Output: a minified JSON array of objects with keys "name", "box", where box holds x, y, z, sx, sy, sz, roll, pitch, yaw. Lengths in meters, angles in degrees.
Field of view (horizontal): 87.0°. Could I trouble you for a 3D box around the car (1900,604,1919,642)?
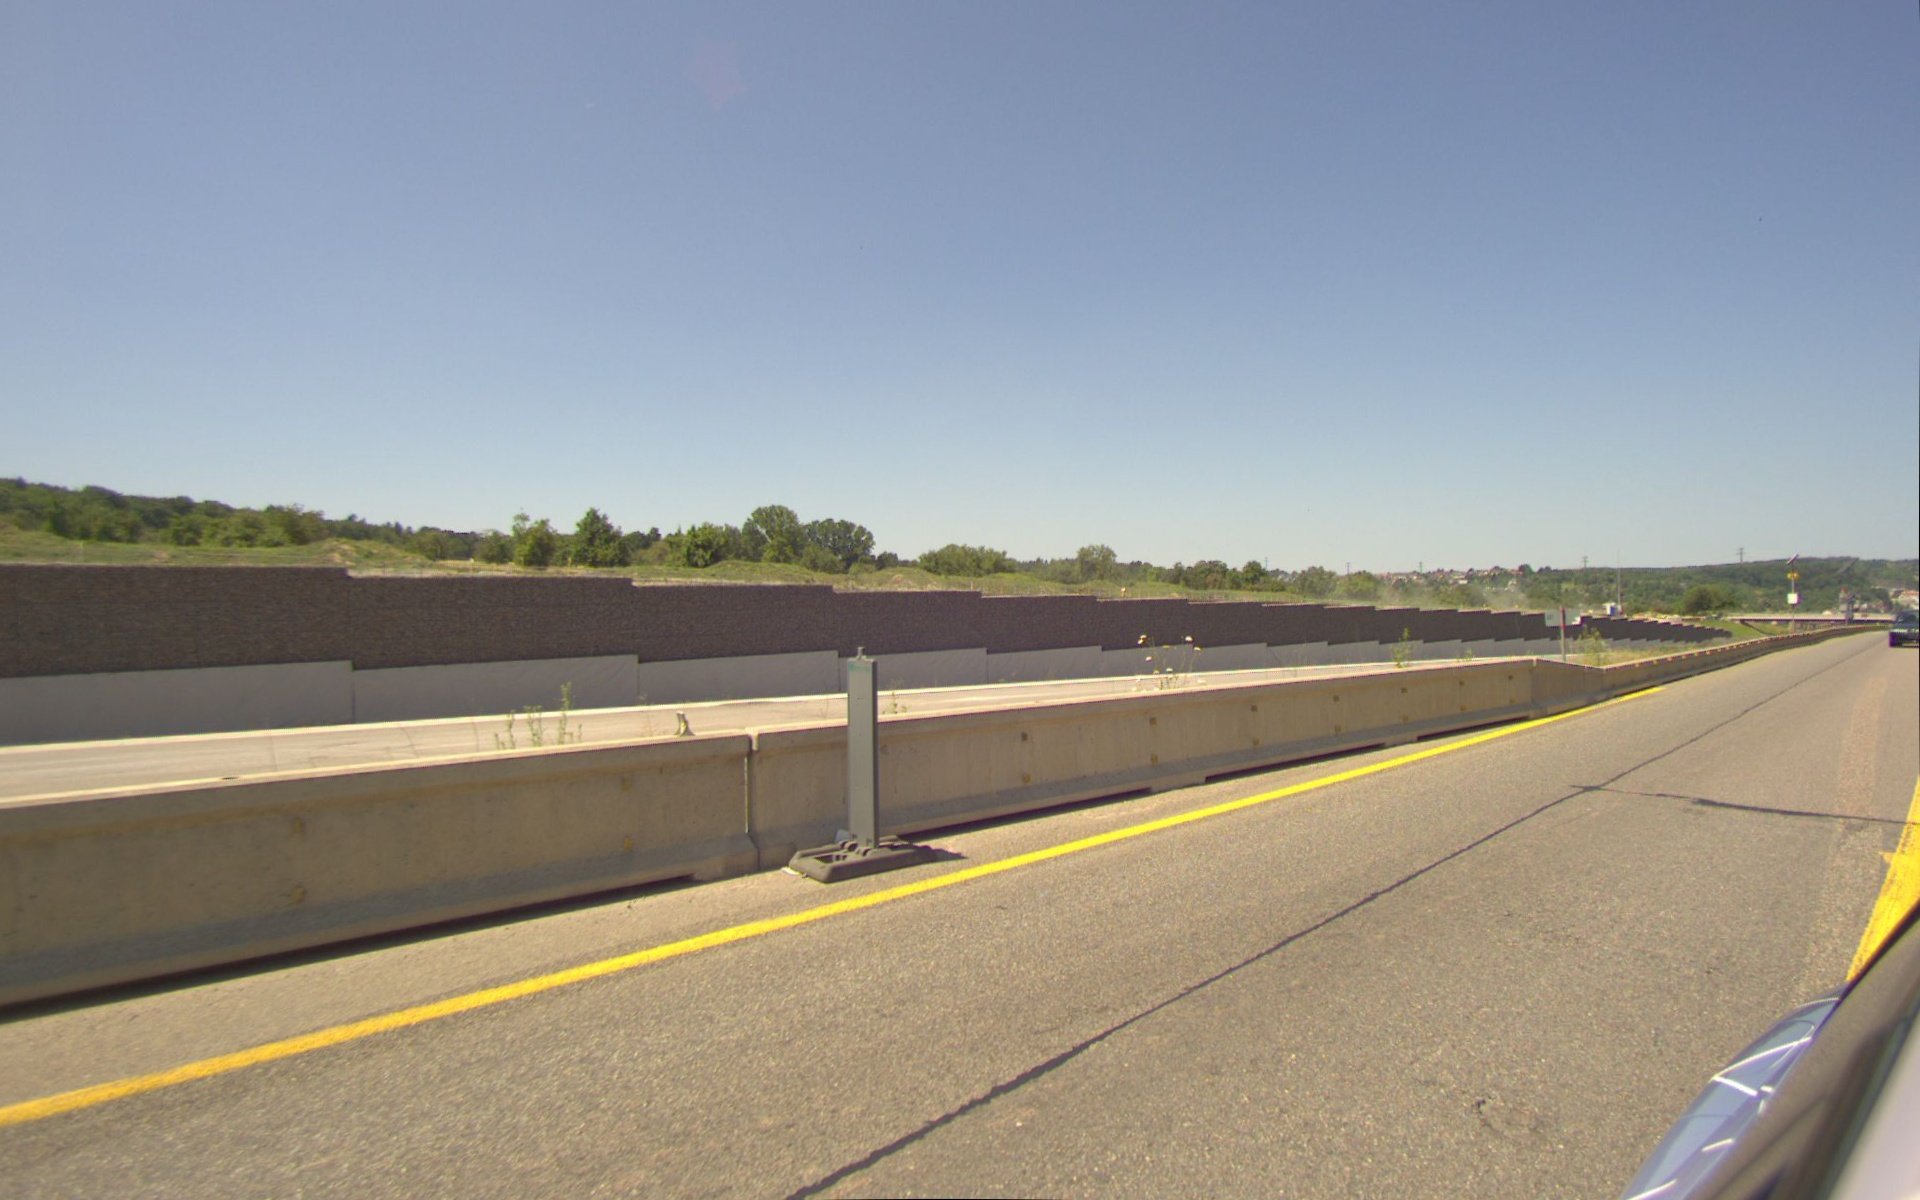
[{"name":"car","box":[36.014,0.888,37.321,3.933,1.323,1.807,2,0,-44]}]
